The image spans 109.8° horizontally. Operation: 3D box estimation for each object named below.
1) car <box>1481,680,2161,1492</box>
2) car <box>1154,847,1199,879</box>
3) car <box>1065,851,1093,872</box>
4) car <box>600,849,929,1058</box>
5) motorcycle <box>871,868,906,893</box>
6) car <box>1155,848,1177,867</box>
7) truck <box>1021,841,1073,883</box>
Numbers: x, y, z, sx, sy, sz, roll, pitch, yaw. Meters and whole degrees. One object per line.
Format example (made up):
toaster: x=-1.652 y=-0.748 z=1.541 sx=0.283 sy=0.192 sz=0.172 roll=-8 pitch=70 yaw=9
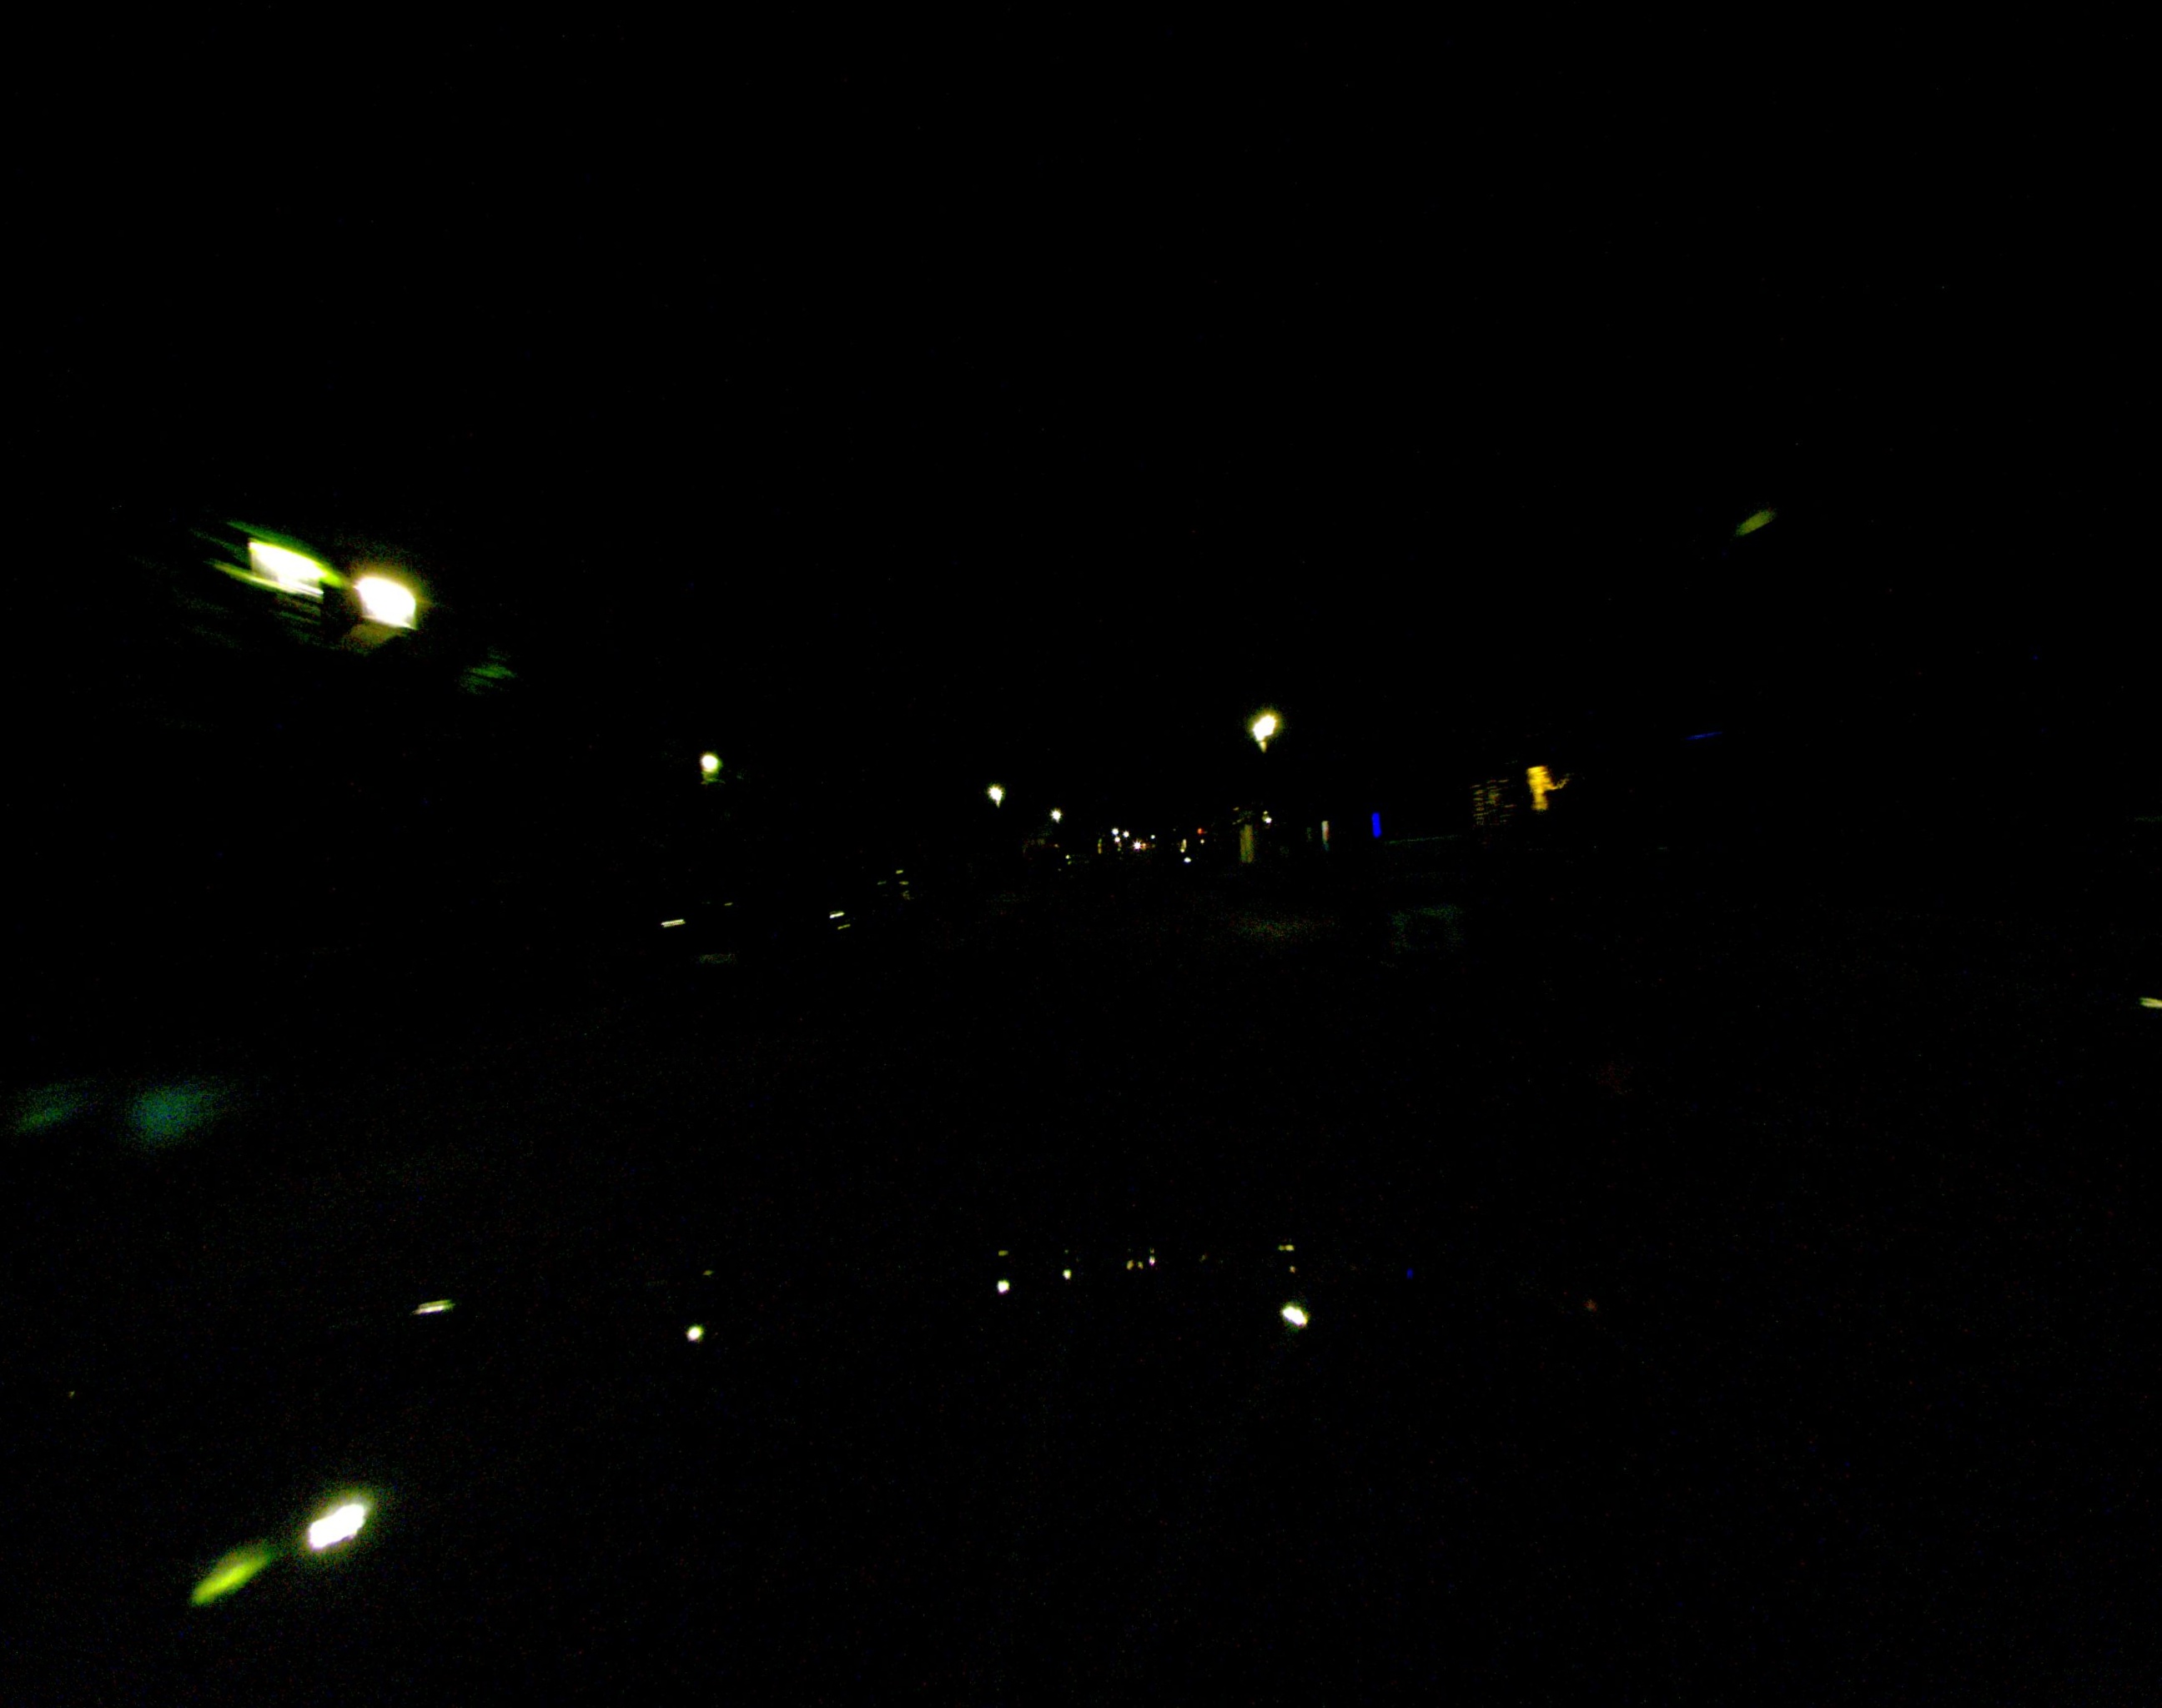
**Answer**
car: x=3.499 y=0.491 z=2.131 sx=1.930 sy=1.954 sz=5.076 roll=-5 pitch=0 yaw=0
car: x=4.962 y=0.450 z=39.830 sx=1.795 sy=1.496 sz=4.000 roll=-4 pitch=0 yaw=1
car: x=-0.137 y=0.582 z=60.515 sx=1.737 sy=1.493 sz=4.001 roll=-3 pitch=0 yaw=6
car: x=-3.362 y=0.893 z=9.368 sx=1.912 sy=1.792 sz=4.936 roll=-3 pitch=0 yaw=0
motorcycle: x=-10.565 y=1.459 z=41.702 sx=1.725 sy=1.244 sz=0.433 roll=-3 pitch=1 yaw=-7
car: x=7.551 y=0.286 z=67.485 sx=1.836 sy=1.458 sz=4.001 roll=-3 pitch=0 yaw=6
truck: x=-1.888 y=0.400 z=45.073 sx=2.109 sy=2.230 sz=6.289 roll=-3 pitch=0 yaw=5
